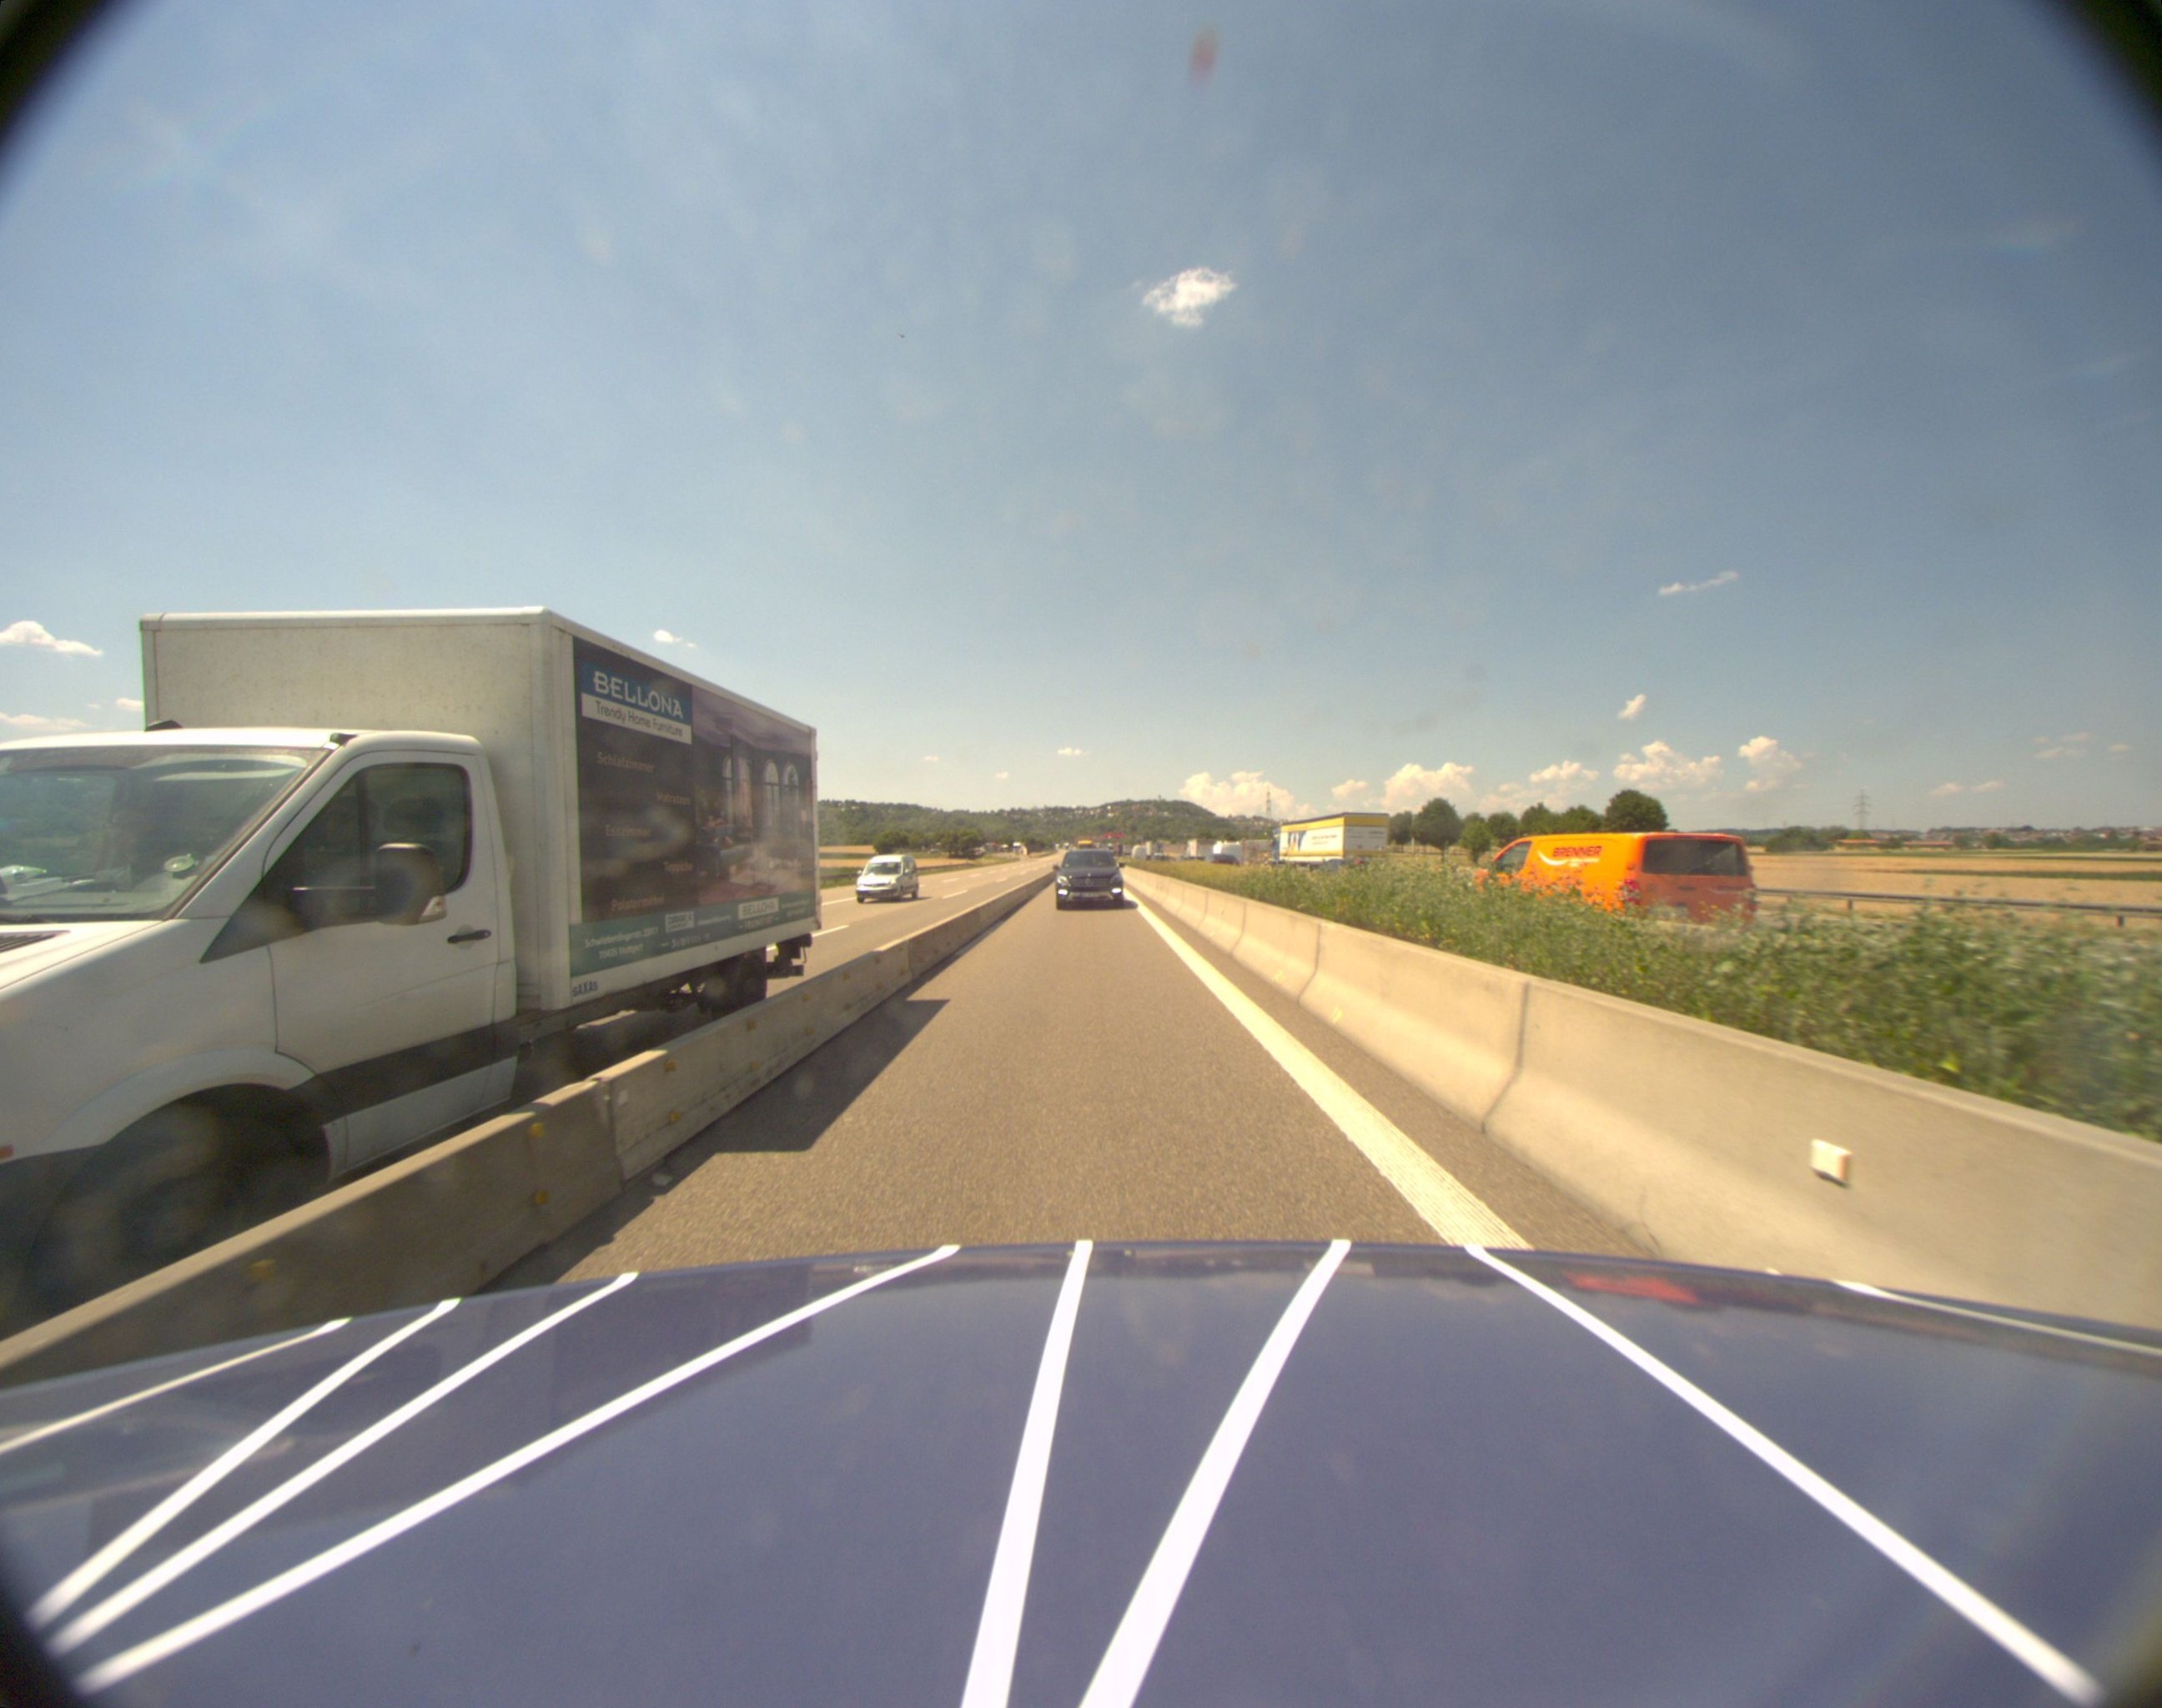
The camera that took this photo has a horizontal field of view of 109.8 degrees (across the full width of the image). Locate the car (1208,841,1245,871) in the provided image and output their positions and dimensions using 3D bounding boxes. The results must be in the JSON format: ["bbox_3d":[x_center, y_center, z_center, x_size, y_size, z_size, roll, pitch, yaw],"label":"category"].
[{"bbox_3d":[12.416,0.142,65.096,2.052,2.486,5.812,0,0,0],"label":"car"}]

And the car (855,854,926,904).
[{"bbox_3d":[-7.216,0.910,29.158,1.630,1.727,3.973,-2,0,1],"label":"car"}]

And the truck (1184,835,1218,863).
[{"bbox_3d":[16.692,-0.645,106.876,2.801,3.588,13.288,2,0,1],"label":"truck"}]

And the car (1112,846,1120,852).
[{"bbox_3d":[10.377,-1.401,225.483,1.895,1.608,4.820,-1,1,0],"label":"car"}]

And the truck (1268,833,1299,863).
[{"bbox_3d":[27.908,-0.791,105.250,2.904,3.755,13.299,2,0,10],"label":"truck"}]

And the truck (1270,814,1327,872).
[{"bbox_3d":[16.006,-0.765,56.169,2.817,4.104,4.841,0,0,0],"label":"truck"}]

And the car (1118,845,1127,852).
[{"bbox_3d":[9.472,-1.258,175.775,1.848,1.560,5.344,-1,0,1],"label":"car"}]

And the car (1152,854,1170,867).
[{"bbox_3d":[9.078,0.692,86.481,1.601,1.460,4.533,0,0,0],"label":"car"}]

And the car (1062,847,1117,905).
[{"bbox_3d":[0.297,0.664,25.029,1.630,1.711,3.865,-2,0,1],"label":"car"}]

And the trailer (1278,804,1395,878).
[{"bbox_3d":[15.976,-0.725,49.064,2.817,4.104,14.129,0,0,0],"label":"trailer"}]

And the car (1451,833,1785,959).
[{"bbox_3d":[8.138,0.532,12.282,1.899,1.569,4.936,-2,0,0],"label":"car"}]

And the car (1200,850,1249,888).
[{"bbox_3d":[8.119,0.810,43.437,1.998,2.002,4.685,-1,0,1],"label":"car"}]

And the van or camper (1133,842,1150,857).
[{"bbox_3d":[9.225,-0.676,116.308,2.041,2.208,7.207,-2,0,0],"label":"van or camper"}]

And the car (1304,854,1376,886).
[{"bbox_3d":[11.751,0.685,34.796,1.752,1.259,4.433,-2,1,0],"label":"car"}]

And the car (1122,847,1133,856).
[{"bbox_3d":[9.024,-0.507,147.392,1.786,1.580,4.541,-1,0,1],"label":"car"}]

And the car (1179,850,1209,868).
[{"bbox_3d":[9.414,0.411,63.769,1.783,1.327,4.928,-2,1,0],"label":"car"}]

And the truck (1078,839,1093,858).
[{"bbox_3d":[0.825,-0.996,130.784,2.272,3.139,8.185,-2,1,1],"label":"truck"}]

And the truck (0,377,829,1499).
[{"bbox_3d":[-4.071,0.254,5.159,2.326,3.049,6.751,-2,0,1],"label":"truck"}]

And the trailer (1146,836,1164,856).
[{"bbox_3d":[16.865,-1.811,173.627,2.900,4.350,12.992,1,1,1],"label":"trailer"}]

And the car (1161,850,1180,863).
[{"bbox_3d":[12.372,0.326,105.637,1.891,1.700,5.521,1,0,-1],"label":"car"}]
